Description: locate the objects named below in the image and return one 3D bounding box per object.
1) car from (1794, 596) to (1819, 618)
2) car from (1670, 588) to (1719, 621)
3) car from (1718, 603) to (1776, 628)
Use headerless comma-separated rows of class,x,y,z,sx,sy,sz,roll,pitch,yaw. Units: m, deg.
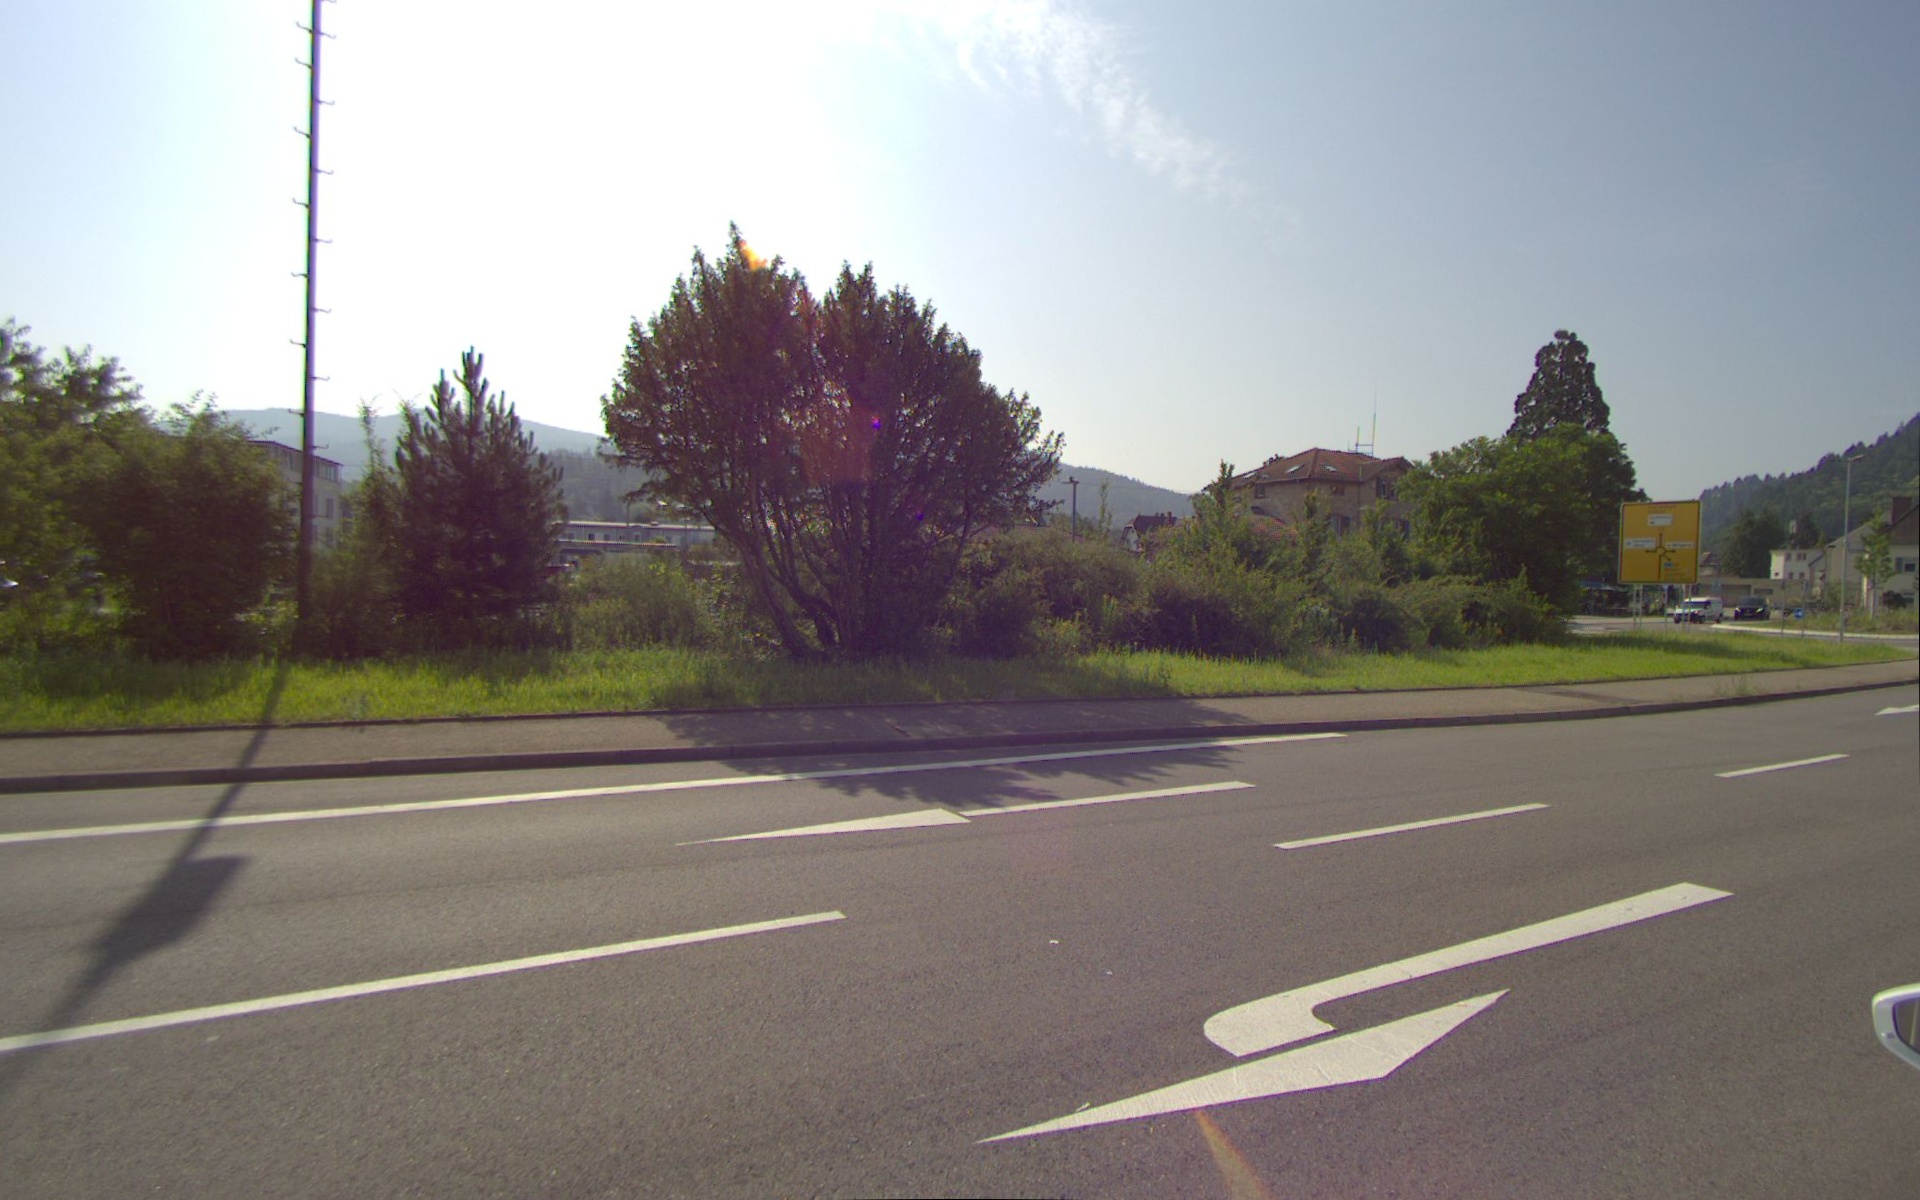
car,84.133,0.669,99.875,1.787,2.041,3.982,1,1,39
car,53.276,0.324,72.832,4.566,2.106,1.790,-3,4,-40
car,64.988,1.301,82.971,4.817,1.972,1.834,1,0,-26
